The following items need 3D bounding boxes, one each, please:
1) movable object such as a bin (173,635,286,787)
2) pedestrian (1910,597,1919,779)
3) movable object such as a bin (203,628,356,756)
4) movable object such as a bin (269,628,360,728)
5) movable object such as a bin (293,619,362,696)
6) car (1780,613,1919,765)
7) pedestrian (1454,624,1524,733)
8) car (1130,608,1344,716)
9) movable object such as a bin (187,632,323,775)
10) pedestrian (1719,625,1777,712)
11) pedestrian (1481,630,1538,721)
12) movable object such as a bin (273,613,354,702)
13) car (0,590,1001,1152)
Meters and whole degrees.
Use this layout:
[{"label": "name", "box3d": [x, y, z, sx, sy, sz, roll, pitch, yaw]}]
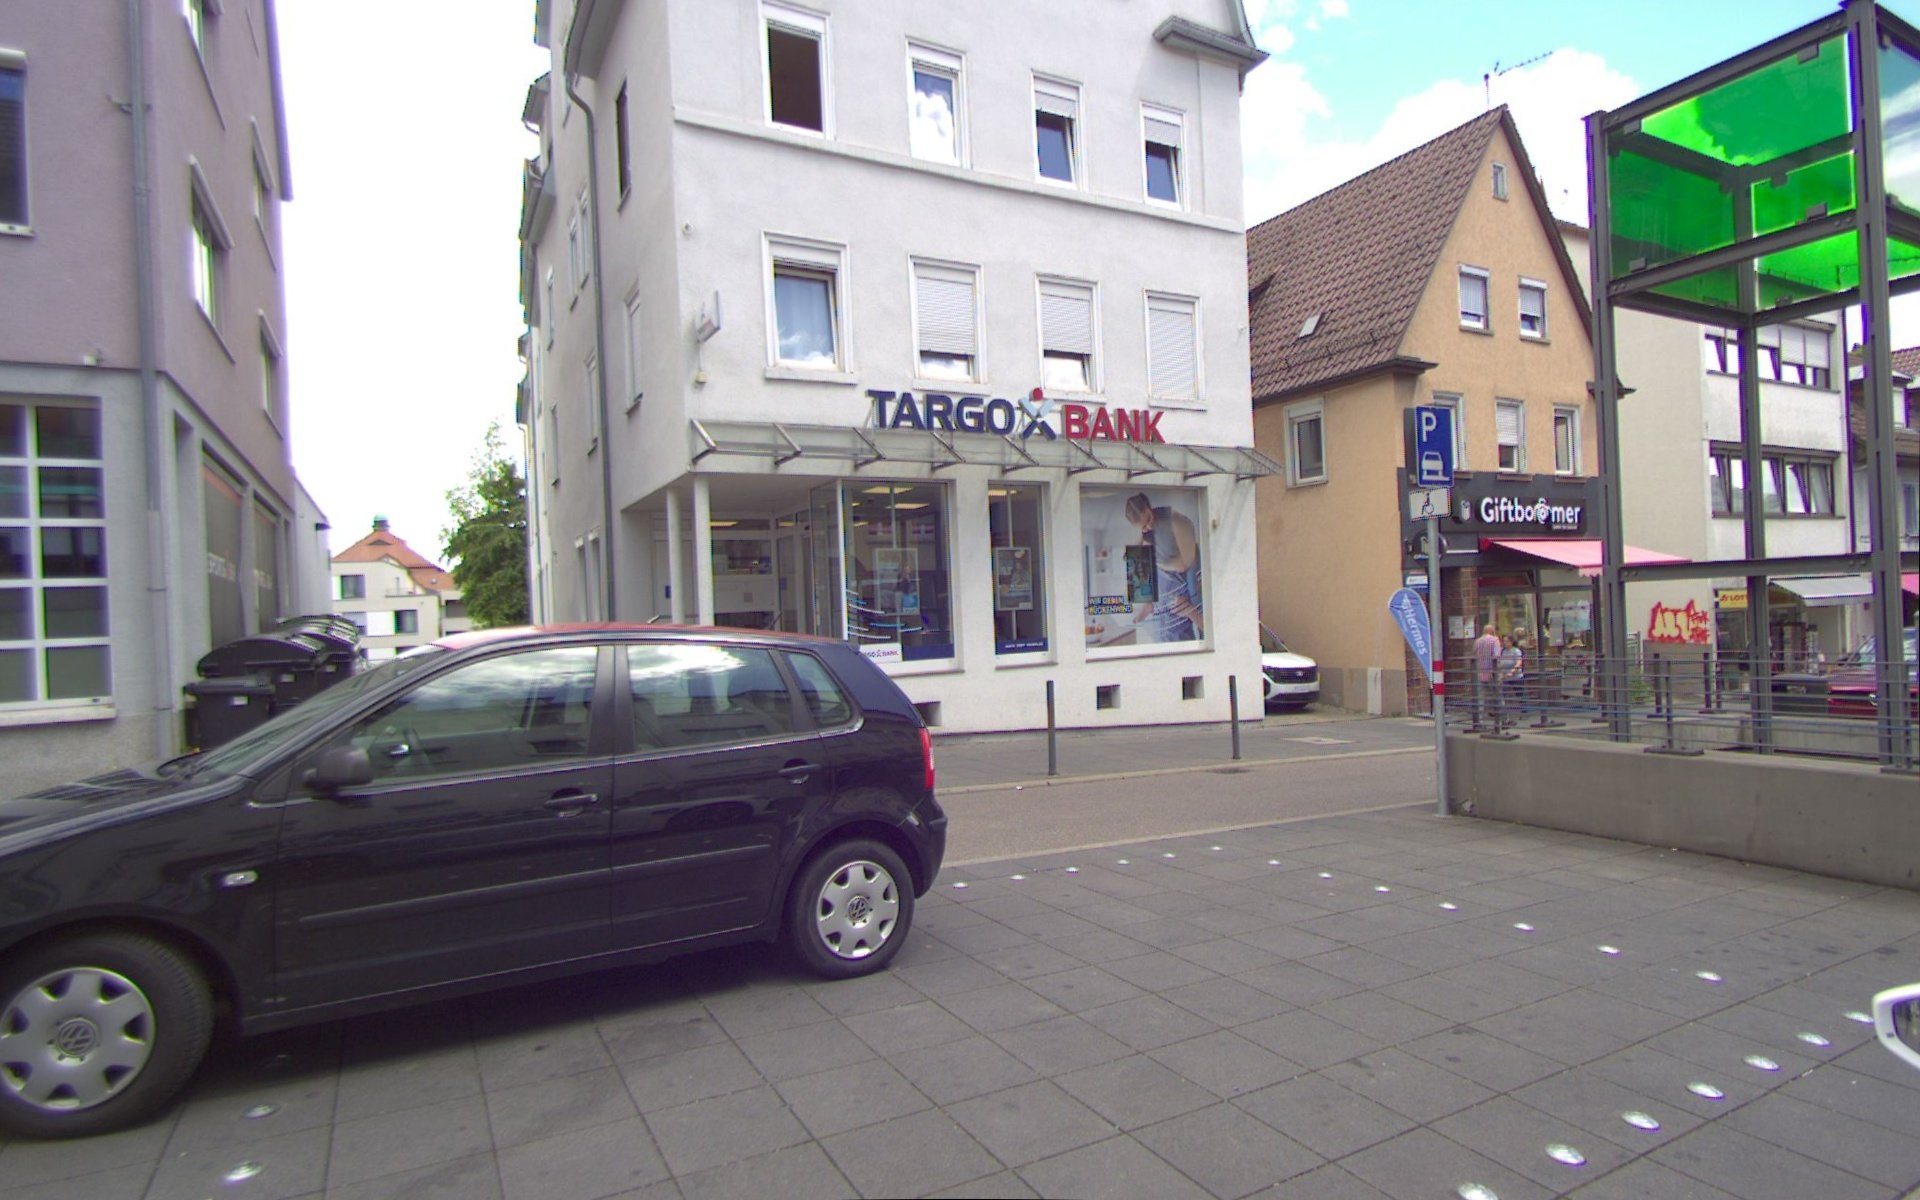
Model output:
[{"label": "movable object such as a bin", "box3d": [-7.091, 1.040, 9.794, 0.798, 1.394, 0.686, 1, -1, -30]}, {"label": "pedestrian", "box3d": [9.405, 0.818, 9.360, 0.889, 1.694, 0.531, 0, -1, -27]}, {"label": "movable object such as a bin", "box3d": [-8.023, 1.041, 11.949, 1.390, 1.394, 1.277, 1, -1, -30]}, {"label": "movable object such as a bin", "box3d": [-9.521, 1.111, 14.872, 1.031, 1.394, 1.277, 1, -1, -30]}, {"label": "movable object such as a bin", "box3d": [-11.921, 1.064, 18.971, 1.031, 1.394, 1.277, 1, -1, -30]}, {"label": "car", "box3d": [11.671, 0.986, 11.880, 4.144, 1.563, 1.730, 1, 0, -30]}, {"label": "pedestrian", "box3d": [8.555, 1.250, 16.250, 0.816, 1.711, 0.637, 1, -1, -26]}, {"label": "car", "box3d": [5.419, 1.147, 20.159, 1.860, 1.898, 4.054, 2, -1, -28]}, {"label": "movable object such as a bin", "box3d": [-7.491, 1.051, 10.753, 1.055, 1.394, 1.277, 1, -1, -30]}, {"label": "pedestrian", "box3d": [15.930, 1.372, 20.312, 0.653, 1.711, 0.646, -1, -1, 10]}, {"label": "pedestrian", "box3d": [9.850, 1.345, 18.018, 0.708, 1.594, 0.562, 1, -3, -30]}, {"label": "movable object such as a bin", "box3d": [-10.666, 0.922, 16.621, 1.031, 1.394, 1.277, 1, -1, -30]}, {"label": "car", "box3d": [-1.834, 0.790, 4.104, 3.814, 1.494, 1.560, 1, -3, -33]}]
